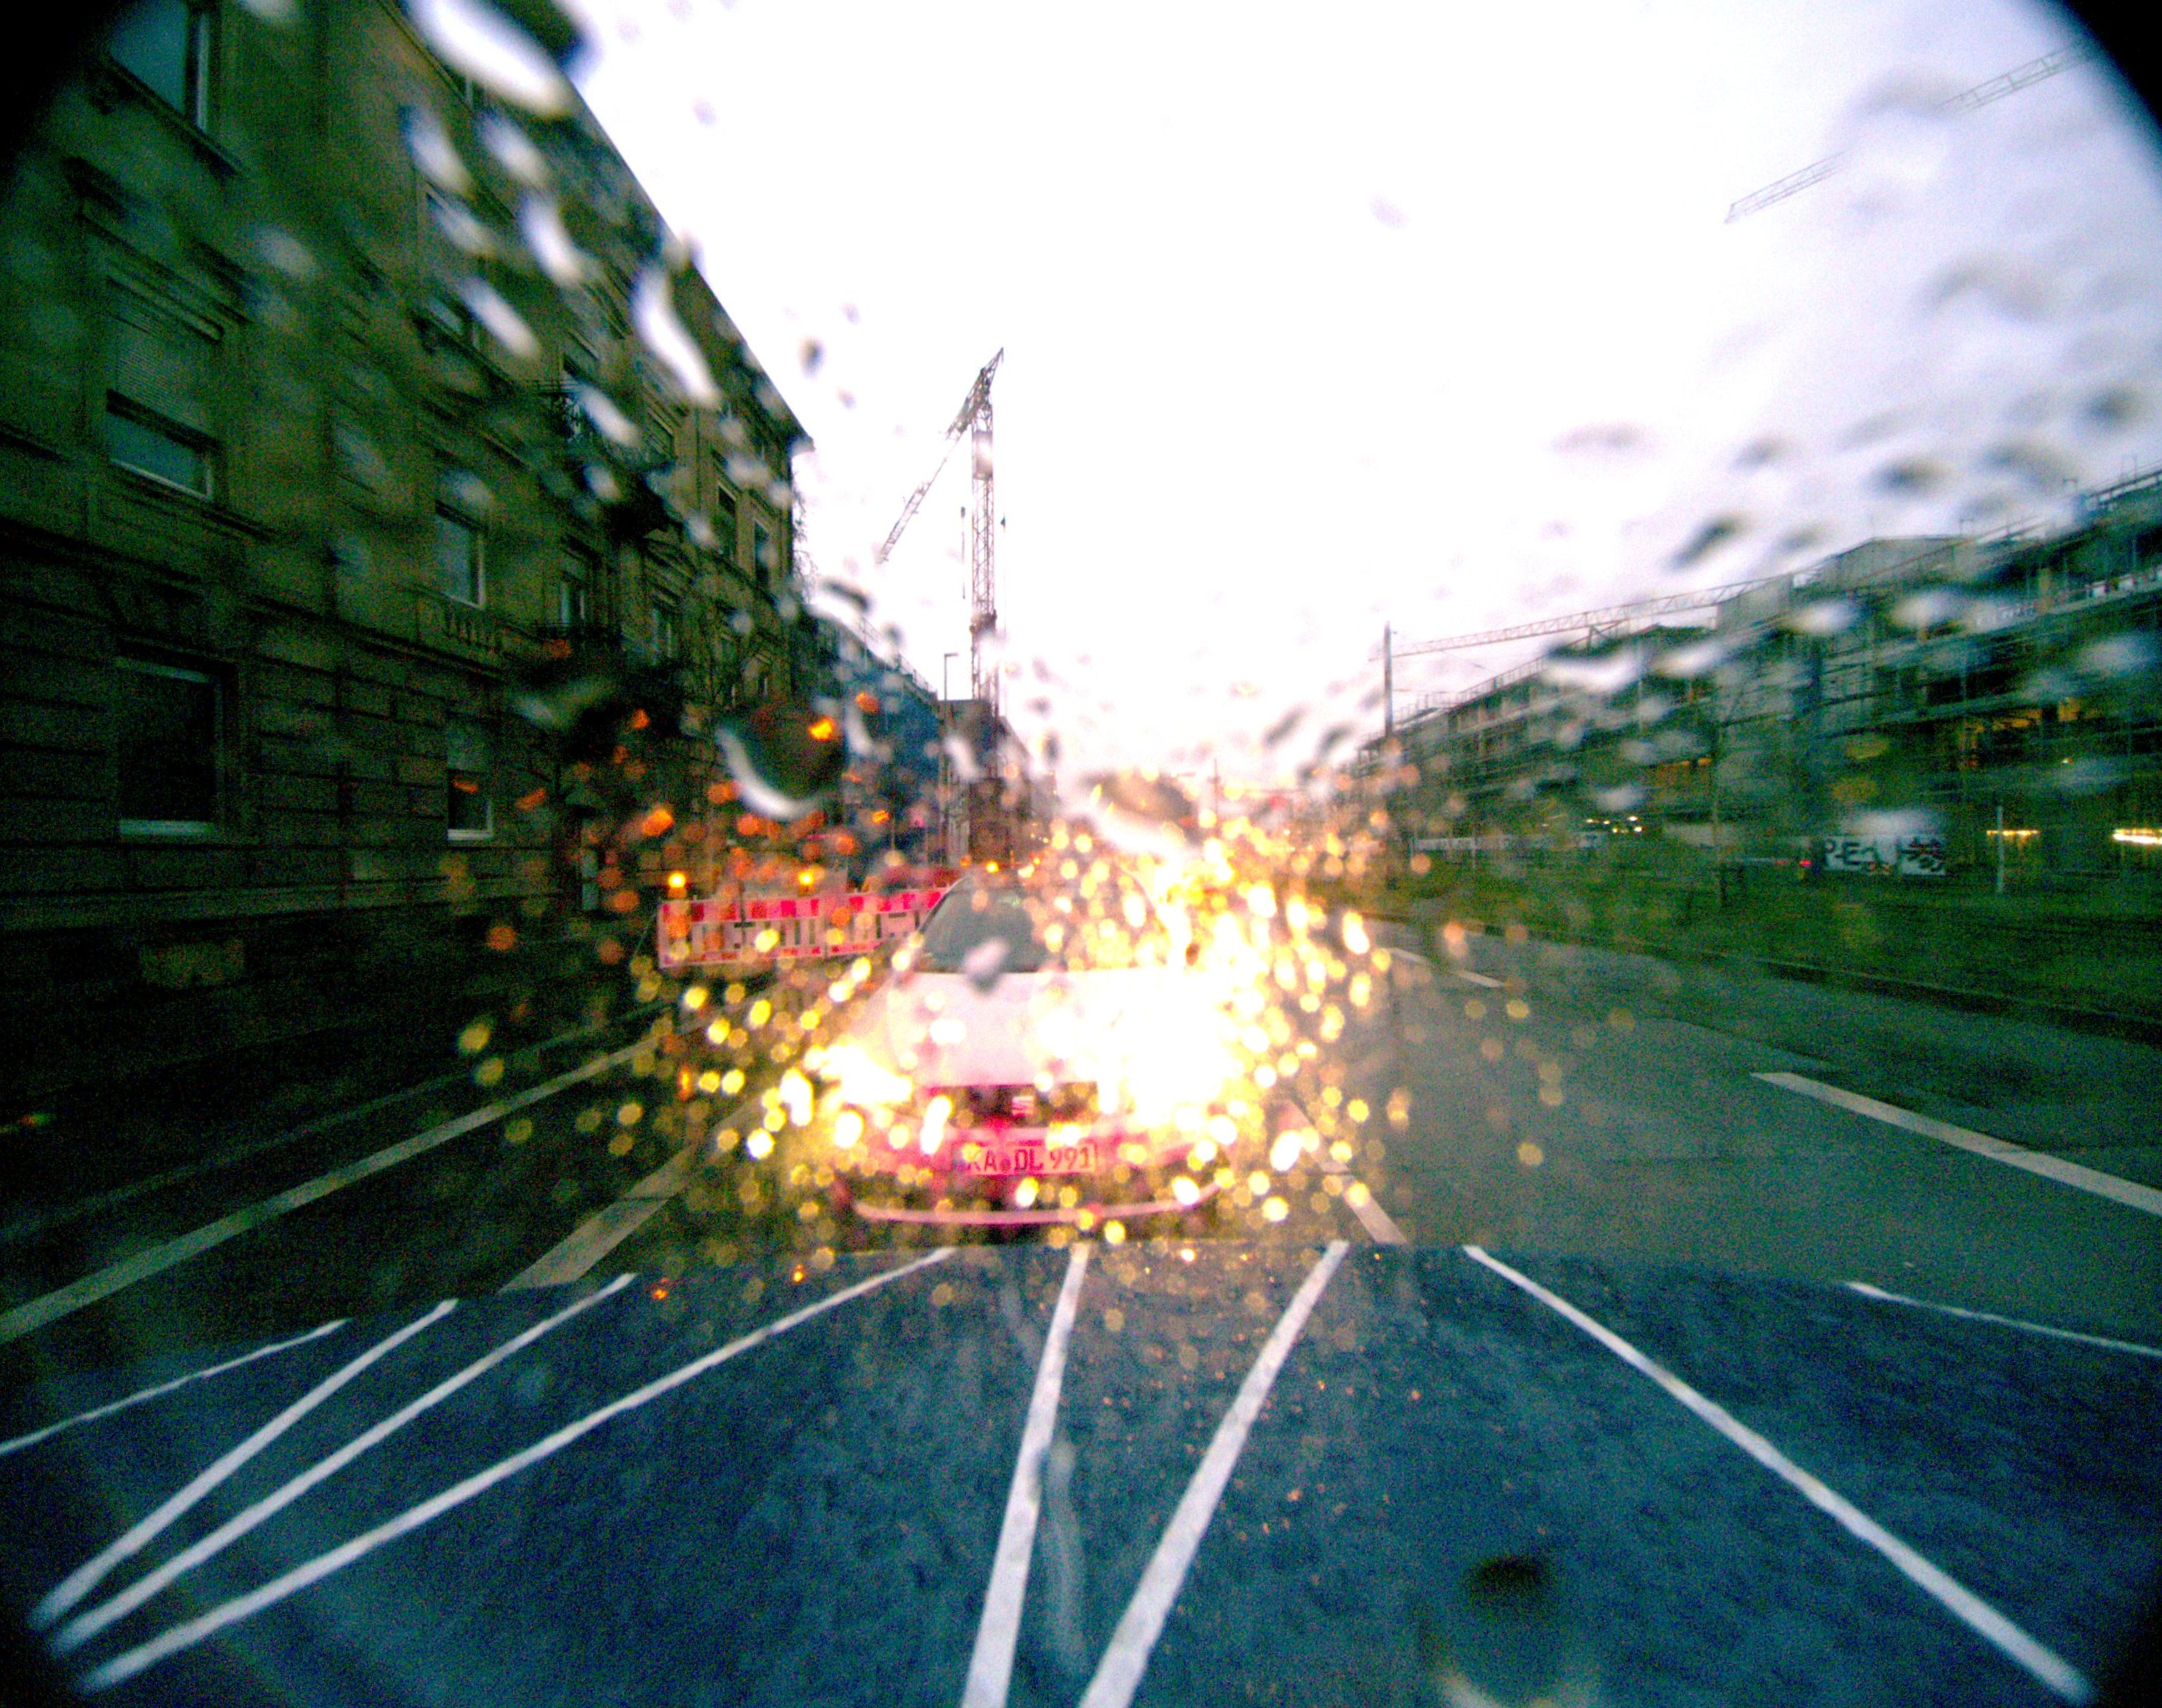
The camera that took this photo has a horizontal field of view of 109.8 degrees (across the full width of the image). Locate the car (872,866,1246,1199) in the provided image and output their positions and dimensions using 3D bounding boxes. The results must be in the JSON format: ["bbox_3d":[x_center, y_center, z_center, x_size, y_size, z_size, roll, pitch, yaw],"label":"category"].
[{"bbox_3d":[-0.142,0.902,5.698,1.764,1.443,3.999,-2,1,-1],"label":"car"}]

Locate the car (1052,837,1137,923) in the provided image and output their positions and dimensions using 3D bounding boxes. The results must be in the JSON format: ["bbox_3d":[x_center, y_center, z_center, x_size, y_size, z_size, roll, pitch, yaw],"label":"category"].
[{"bbox_3d":[0.263,0.572,19.254,1.858,1.886,3.999,-2,1,-1],"label":"car"}]

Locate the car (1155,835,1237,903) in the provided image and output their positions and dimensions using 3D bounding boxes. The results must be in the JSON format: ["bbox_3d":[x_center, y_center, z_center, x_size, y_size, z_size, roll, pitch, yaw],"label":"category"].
[{"bbox_3d":[3.220,0.381,22.007,1.857,1.723,4.000,-2,1,2],"label":"car"}]

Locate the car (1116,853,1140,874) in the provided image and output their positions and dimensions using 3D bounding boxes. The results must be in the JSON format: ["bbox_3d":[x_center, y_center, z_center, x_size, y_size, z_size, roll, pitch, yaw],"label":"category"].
[{"bbox_3d":[3.831,0.726,61.983,1.844,1.547,4.000,-2,1,3],"label":"car"}]

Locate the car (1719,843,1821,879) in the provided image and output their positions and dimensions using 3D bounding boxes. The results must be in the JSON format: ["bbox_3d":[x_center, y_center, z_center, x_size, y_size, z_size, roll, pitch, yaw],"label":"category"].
[{"bbox_3d":[37.293,0.348,41.295,1.998,1.761,4.000,-2,1,3],"label":"car"}]

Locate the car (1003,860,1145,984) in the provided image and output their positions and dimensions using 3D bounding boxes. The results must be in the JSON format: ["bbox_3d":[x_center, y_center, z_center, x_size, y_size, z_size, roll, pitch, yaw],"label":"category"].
[{"bbox_3d":[-0.129,0.894,11.755,1.764,1.443,3.999,-2,1,-1],"label":"car"}]

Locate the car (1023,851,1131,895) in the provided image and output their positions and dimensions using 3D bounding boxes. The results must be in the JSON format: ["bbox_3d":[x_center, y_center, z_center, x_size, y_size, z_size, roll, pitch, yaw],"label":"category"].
[{"bbox_3d":[-0.211,0.798,31.841,4.312,1.644,1.849,-2,1,40],"label":"car"}]
